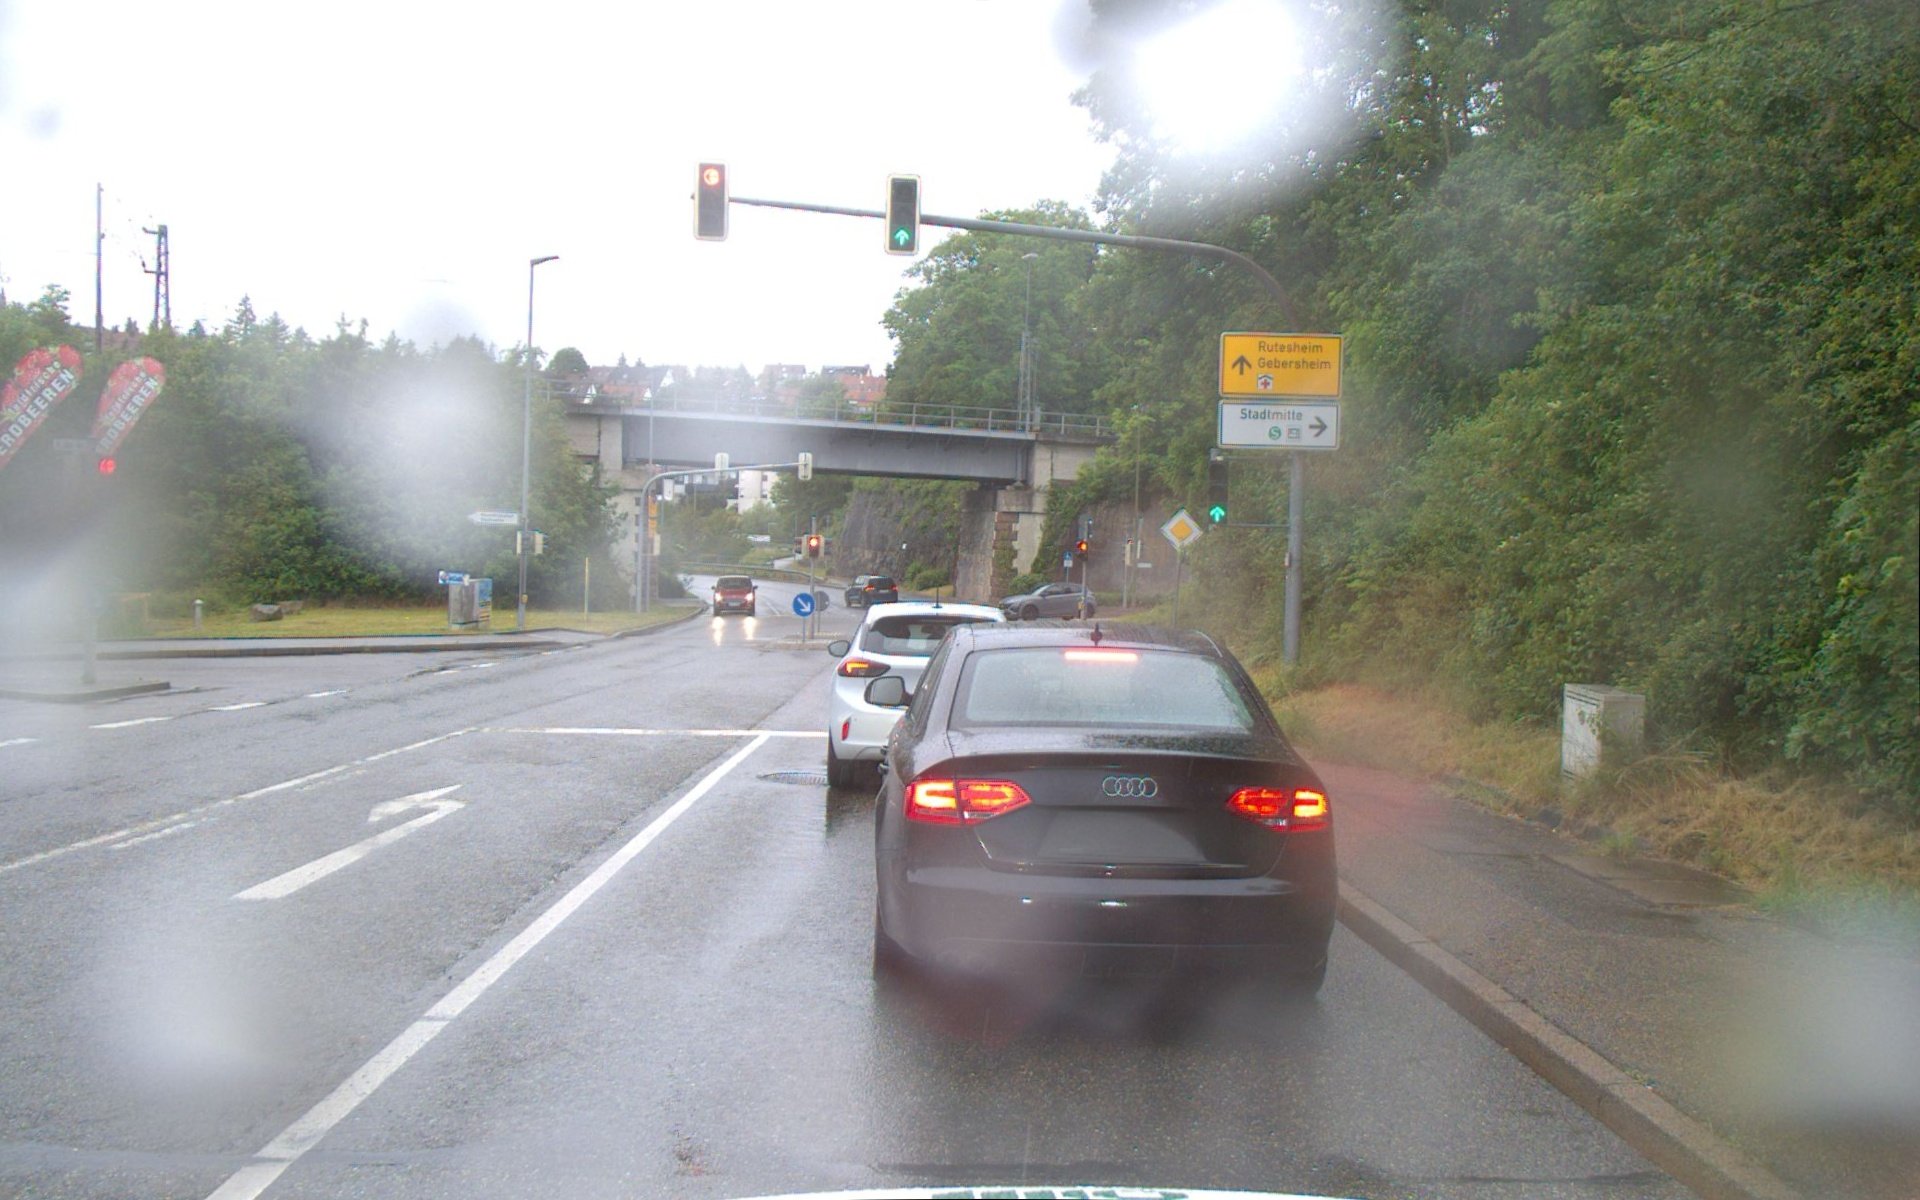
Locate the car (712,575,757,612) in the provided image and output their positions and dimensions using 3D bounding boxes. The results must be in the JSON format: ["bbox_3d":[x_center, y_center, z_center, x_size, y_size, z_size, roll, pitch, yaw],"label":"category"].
[{"bbox_3d":[-10.169,-0.293,74.749,1.956,1.657,3.993,0,0,-8],"label":"car"}]

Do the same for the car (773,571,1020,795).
[{"bbox_3d":[-0.494,0.636,14.061,1.786,1.613,3.999,1,-1,-1],"label":"car"}]

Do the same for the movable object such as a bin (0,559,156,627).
[{"bbox_3d":[-24.166,-0.164,42.458,2.699,1.656,5.752,0,-1,39],"label":"movable object such as a bin"}]

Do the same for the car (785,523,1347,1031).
[{"bbox_3d":[0.321,0.611,7.421,1.832,1.645,3.999,1,-1,-1],"label":"car"}]

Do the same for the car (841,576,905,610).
[{"bbox_3d":[-4.350,-0.348,82.156,1.966,1.624,3.972,0,1,-23],"label":"car"}]

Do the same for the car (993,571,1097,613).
[{"bbox_3d":[3.427,-0.322,66.920,3.912,1.495,1.642,2,0,-8],"label":"car"}]
